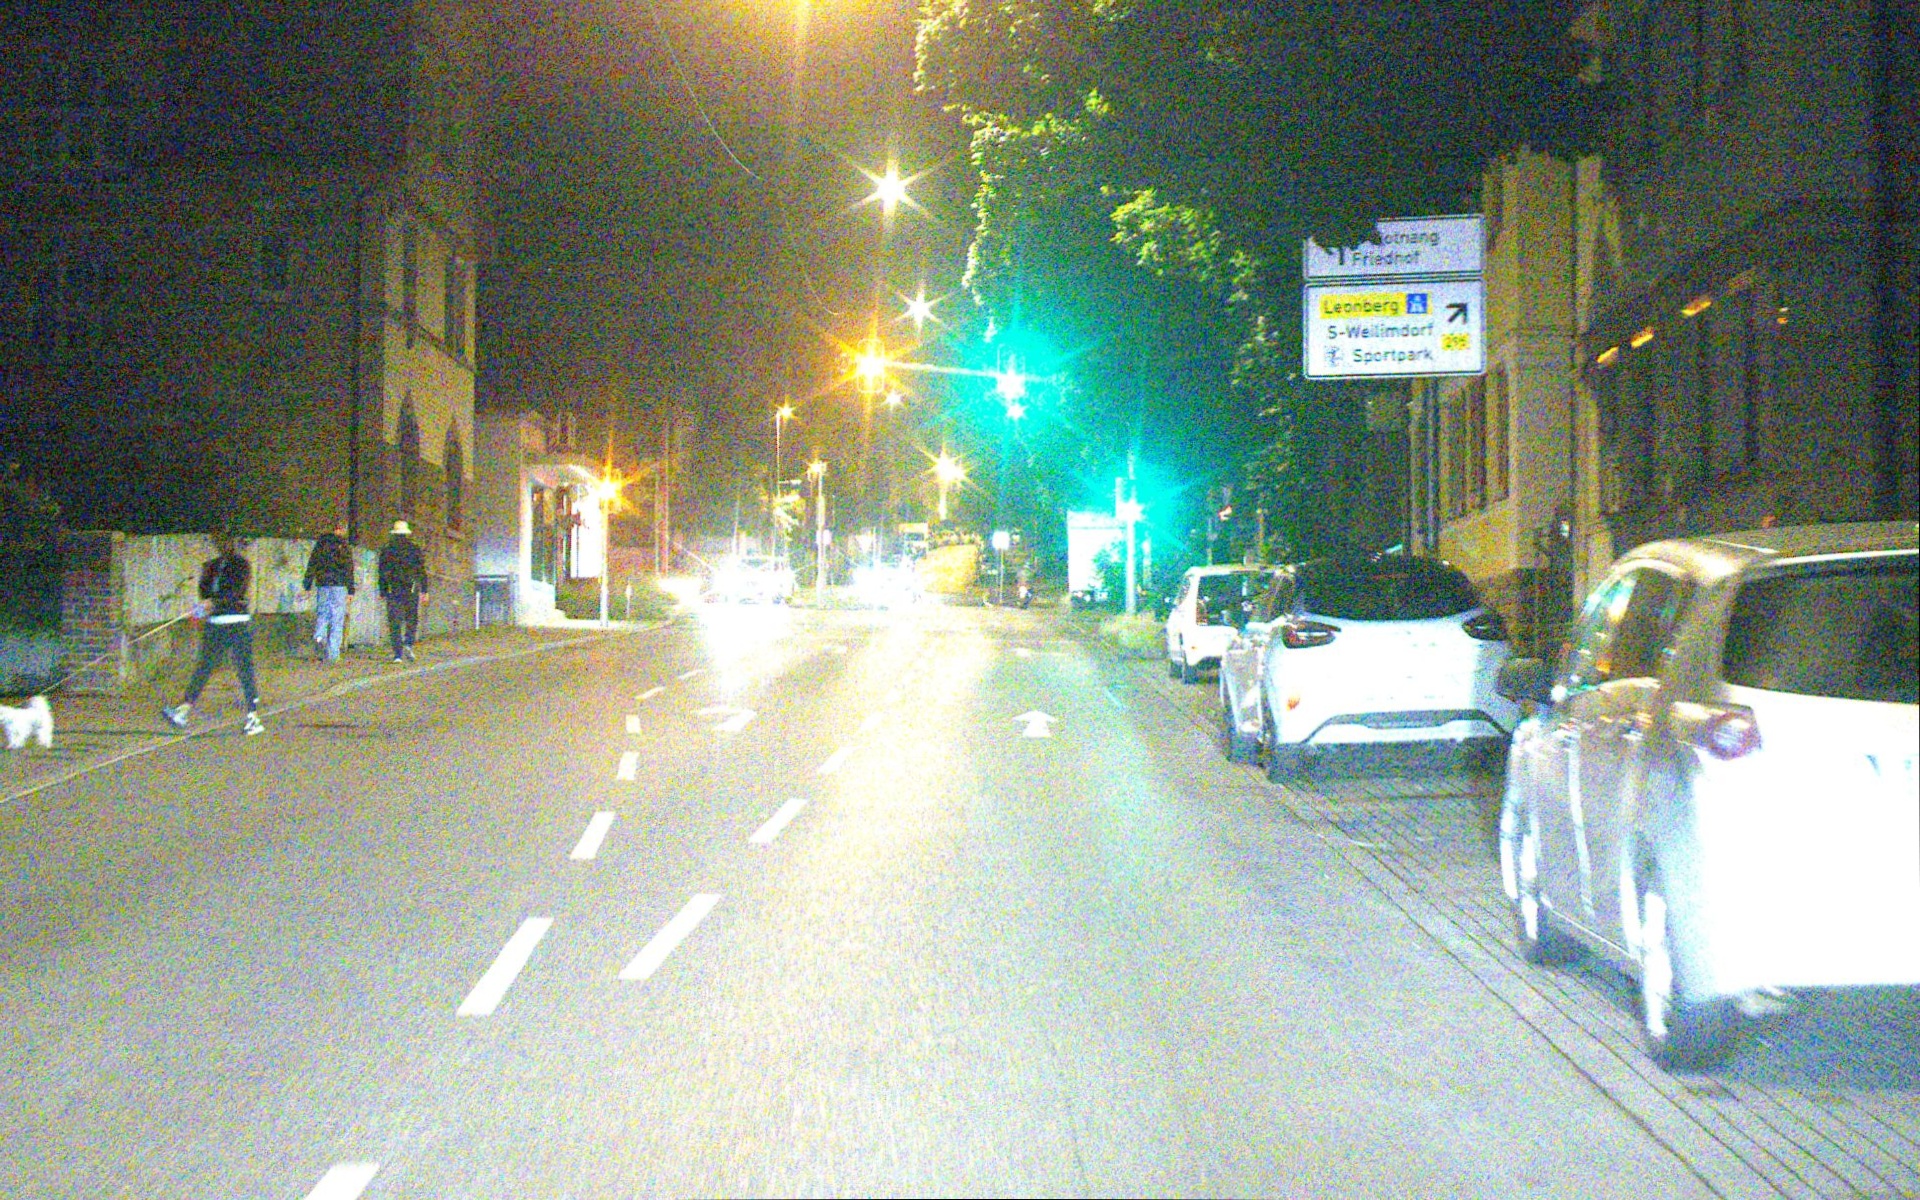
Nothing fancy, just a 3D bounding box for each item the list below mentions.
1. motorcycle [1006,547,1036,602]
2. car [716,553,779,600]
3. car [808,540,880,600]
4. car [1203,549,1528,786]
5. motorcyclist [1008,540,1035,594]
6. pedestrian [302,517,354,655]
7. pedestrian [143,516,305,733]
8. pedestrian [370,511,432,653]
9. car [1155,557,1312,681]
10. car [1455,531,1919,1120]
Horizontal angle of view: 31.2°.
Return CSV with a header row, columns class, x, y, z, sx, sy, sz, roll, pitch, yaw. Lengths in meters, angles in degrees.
class,x,y,z,sx,sy,sz,roll,pitch,yaw
motorcycle,2.012,-0.822,112.966,0.931,1.746,2.625,1,0,1
car,-6.763,-0.735,109.881,1.715,1.452,3.922,1,0,0
car,-3.446,-0.894,103.012,1.944,1.711,4.000,1,0,1
car,2.840,0.421,24.917,1.868,1.521,4.150,-1,1,0
motorcyclist,2.015,-1.079,112.968,0.849,1.746,0.805,1,0,1
pedestrian,-7.865,-0.170,42.808,0.569,1.694,0.930,1,0,-9
pedestrian,-5.978,0.197,27.942,0.766,1.694,0.925,4,1,33
pedestrian,-7.044,-0.223,43.369,0.718,1.759,0.603,1,0,-8
car,3.459,0.215,44.022,1.629,1.491,3.415,1,1,-1
car,2.876,0.578,11.565,1.812,1.588,4.273,-1,1,0
